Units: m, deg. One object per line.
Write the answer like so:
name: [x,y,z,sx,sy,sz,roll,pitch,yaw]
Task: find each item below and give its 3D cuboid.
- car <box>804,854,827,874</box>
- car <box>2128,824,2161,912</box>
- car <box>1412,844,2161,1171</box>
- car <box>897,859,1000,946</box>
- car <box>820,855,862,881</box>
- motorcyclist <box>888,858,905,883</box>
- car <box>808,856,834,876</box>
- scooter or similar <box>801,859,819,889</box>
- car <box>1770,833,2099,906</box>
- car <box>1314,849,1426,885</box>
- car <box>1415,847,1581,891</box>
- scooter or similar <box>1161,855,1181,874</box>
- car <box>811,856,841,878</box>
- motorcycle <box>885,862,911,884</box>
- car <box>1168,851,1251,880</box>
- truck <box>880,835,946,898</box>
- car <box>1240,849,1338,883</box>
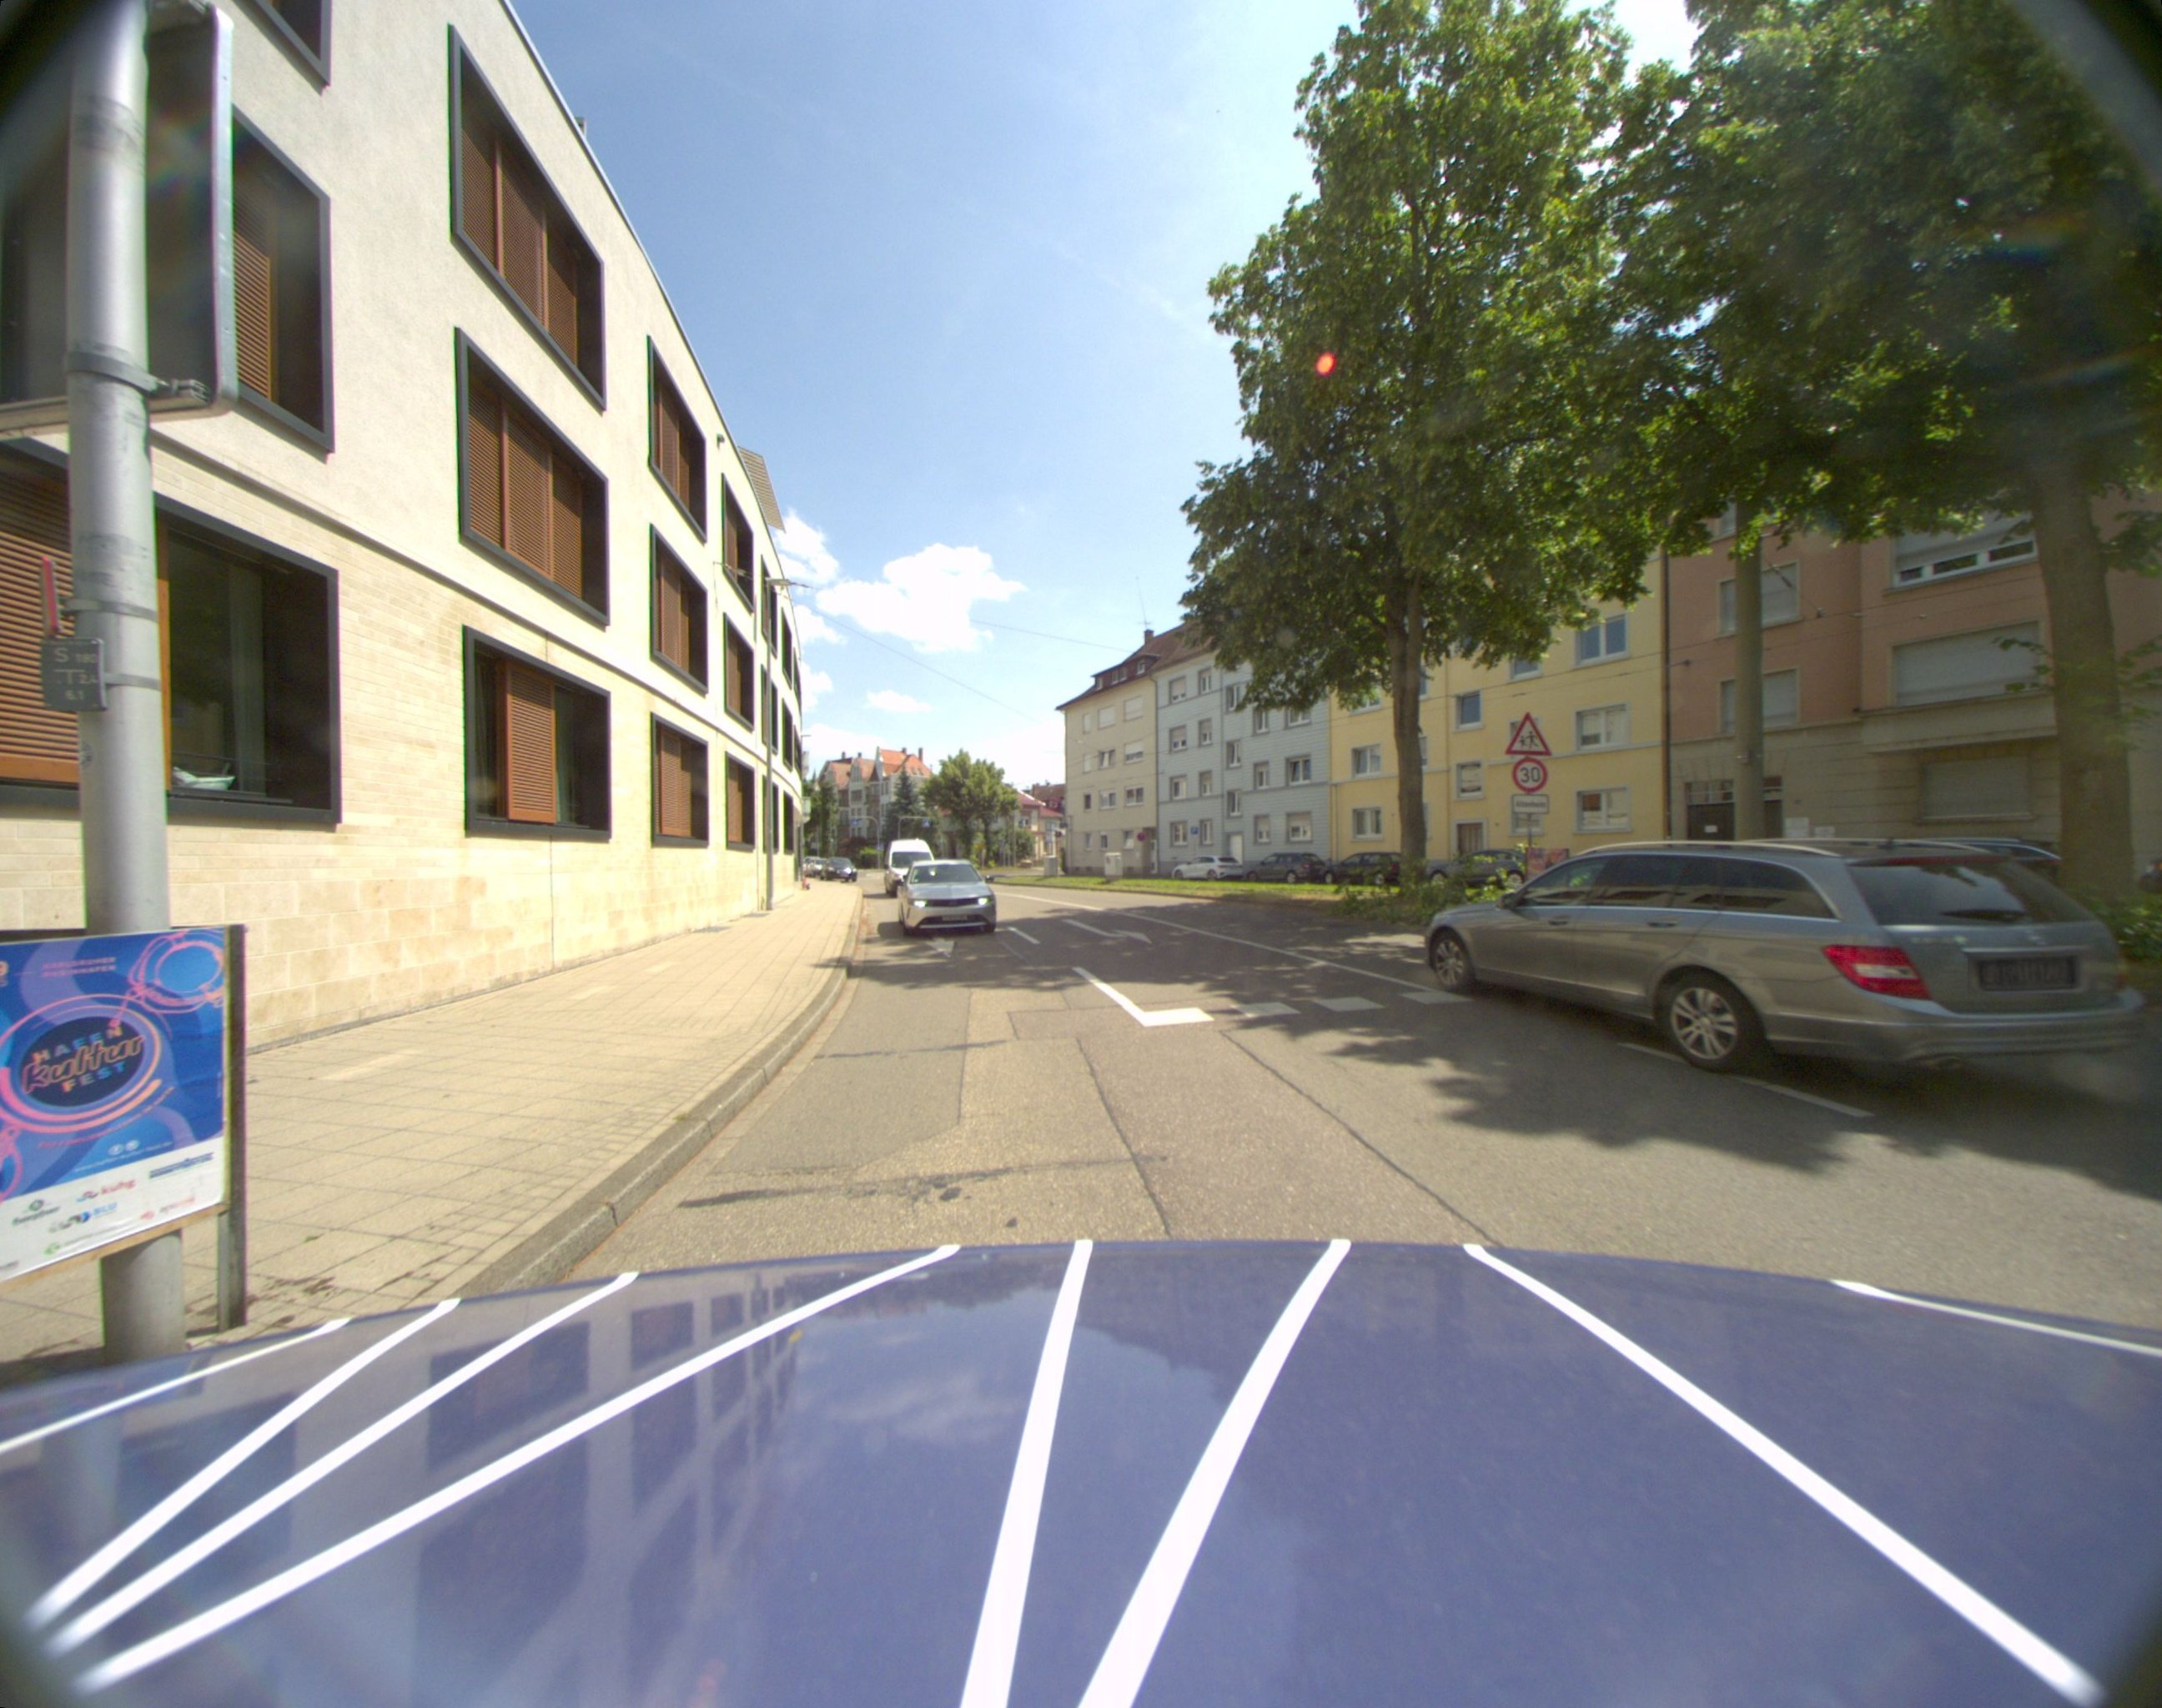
car: [-23.130,0.820,66.216,1.734,1.601,3.794,1,0,-18]
car: [22.261,0.260,13.502,1.845,1.675,4.133,1,-1,-30]
car: [4.554,0.711,5.822,1.743,1.479,4.405,-2,0,-6]
car: [-2.808,0.891,15.914,1.803,1.458,4.166,-2,1,-11]
car: [-15.177,0.860,47.943,1.808,1.500,4.537,3,-1,-26]
motorcyclist: [-10.068,0.875,41.517,0.735,1.329,1.170,-3,0,-8]
car: [-20.150,0.932,58.807,1.734,1.424,4.035,3,-1,-21]
scooter or similar: [-11.473,0.837,32.158,0.584,1.253,1.365,1,0,-24]
car: [19.706,0.351,17.861,1.937,1.481,4.852,1,-1,-30]
car: [11.869,0.521,31.498,1.840,1.391,4.133,0,-1,-29]
car: [14.534,0.526,26.799,1.937,1.389,4.852,1,-1,-29]
scooter or similar: [5.756,0.670,48.642,0.641,1.216,1.318,-2,1,-30]
car: [-18.323,0.930,54.484,1.600,1.424,3.699,3,-1,-25]
motorcycle: [-10.040,1.019,41.769,1.057,1.073,2.615,-3,0,-7]
car: [6.764,0.615,40.347,1.937,1.442,4.365,2,-2,-32]
truck: [-6.874,0.447,30.684,2.023,2.236,5.399,-3,1,-17]
car: [9.711,0.548,35.847,1.937,1.496,4.315,0,-1,-32]
